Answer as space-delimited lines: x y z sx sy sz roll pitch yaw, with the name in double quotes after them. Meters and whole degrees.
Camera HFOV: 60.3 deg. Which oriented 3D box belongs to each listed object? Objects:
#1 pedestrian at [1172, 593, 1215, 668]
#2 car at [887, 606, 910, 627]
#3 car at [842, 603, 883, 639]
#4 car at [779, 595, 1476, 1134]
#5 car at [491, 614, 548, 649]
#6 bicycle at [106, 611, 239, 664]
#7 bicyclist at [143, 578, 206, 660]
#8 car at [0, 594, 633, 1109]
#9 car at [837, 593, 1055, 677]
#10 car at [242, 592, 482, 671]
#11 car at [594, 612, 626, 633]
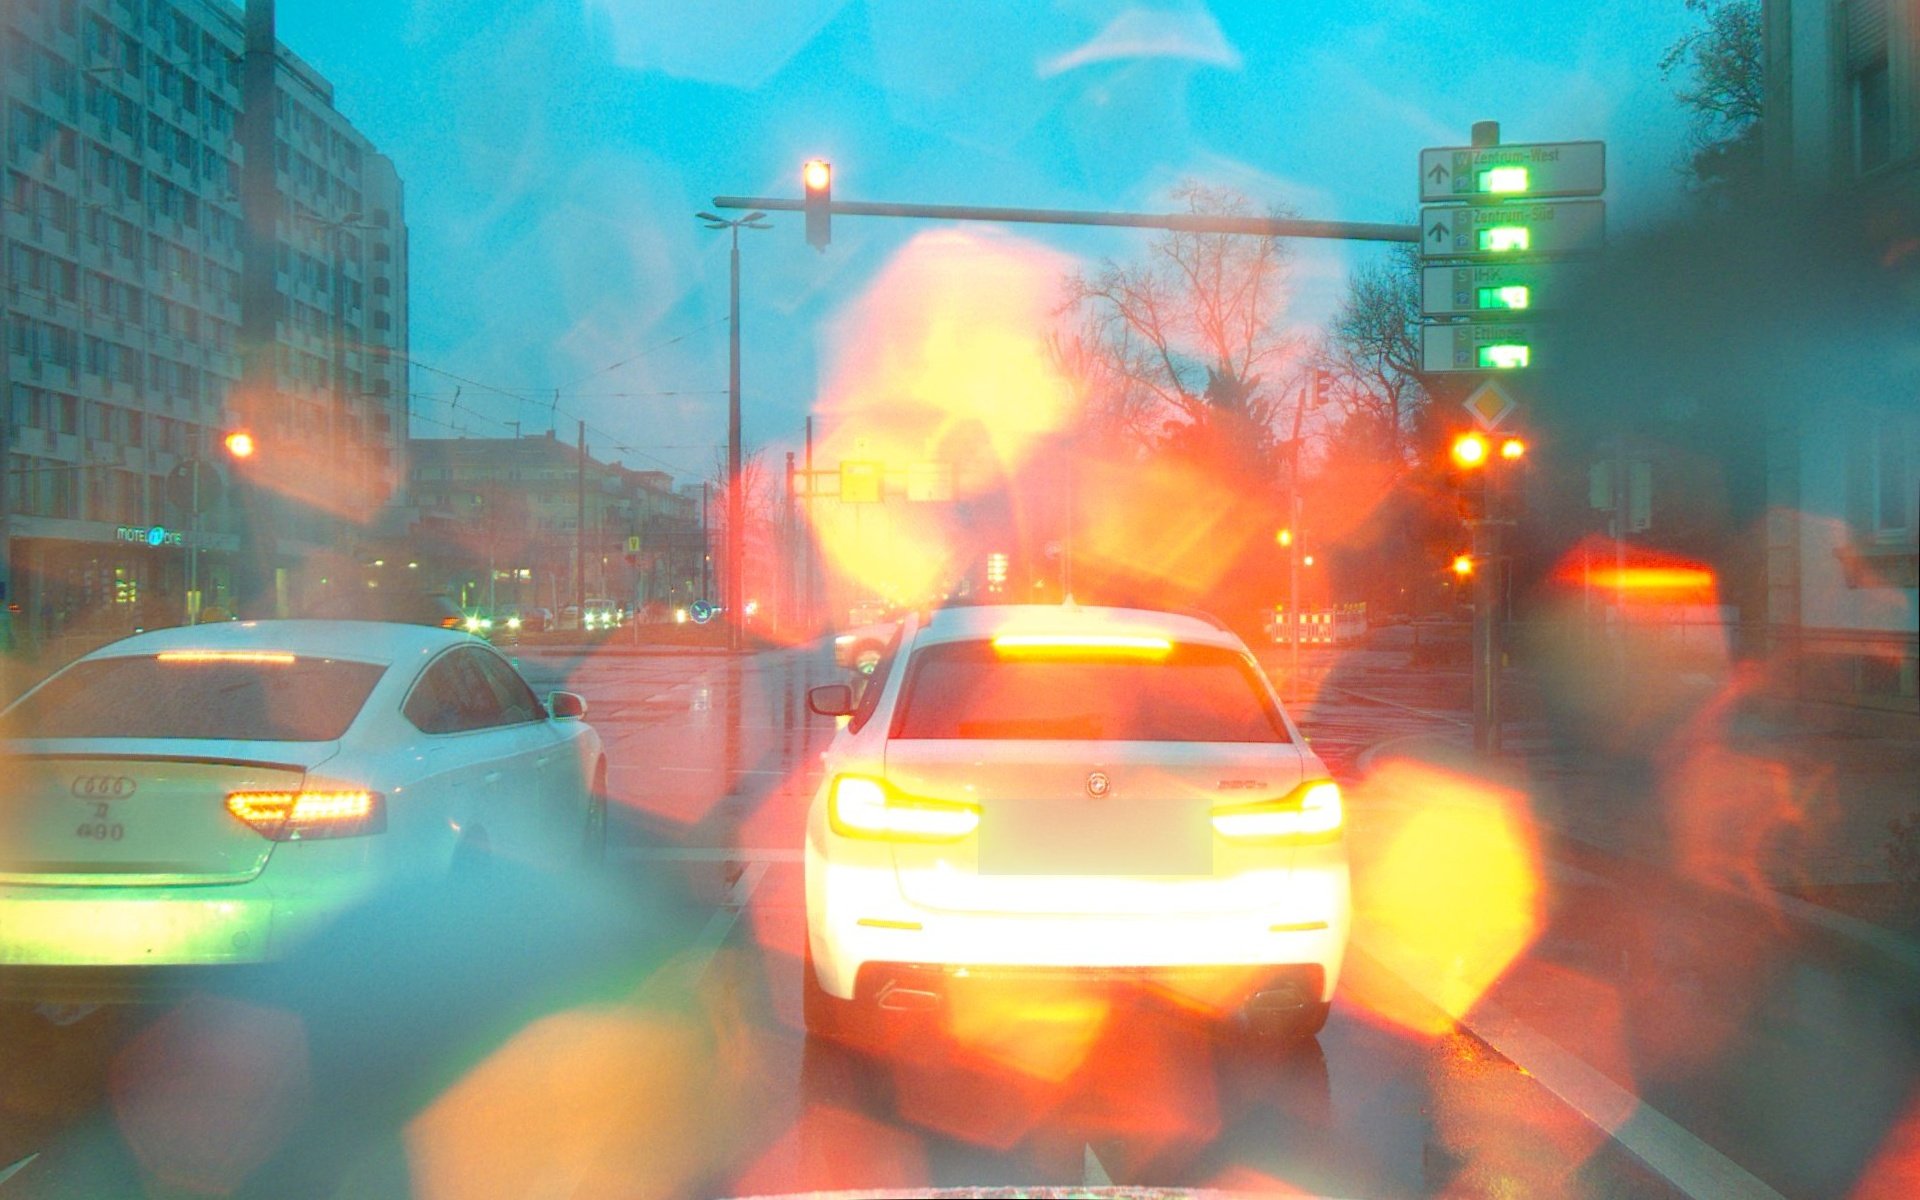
6.000 0.772 42.534 0.884 1.888 0.812 1 -1 23 "pedestrian"
-5.084 1.368 136.749 1.806 1.637 3.943 1 -1 -2 "car"
-4.612 0.991 77.939 1.710 1.581 3.962 2 -1 -6 "car"
0.379 0.732 6.807 1.954 1.481 4.366 0 0 -3 "car"
-20.295 1.432 76.360 1.641 1.534 3.695 1 -1 -1 "car"
-17.749 0.839 37.319 2.611 1.108 0.815 1 -1 4 "bicycle"
-17.731 0.431 37.328 0.952 1.789 0.814 1 -1 4 "bicyclist"
-2.703 0.723 6.978 1.954 1.481 4.366 0 0 -3 "car"
-0.229 0.674 32.349 4.005 1.556 1.841 0 -1 9 "car"
-11.511 0.614 32.066 4.013 1.466 1.837 1 -1 -6 "car"
-26.671 1.735 126.194 1.641 1.534 3.695 1 -1 -1 "car"
